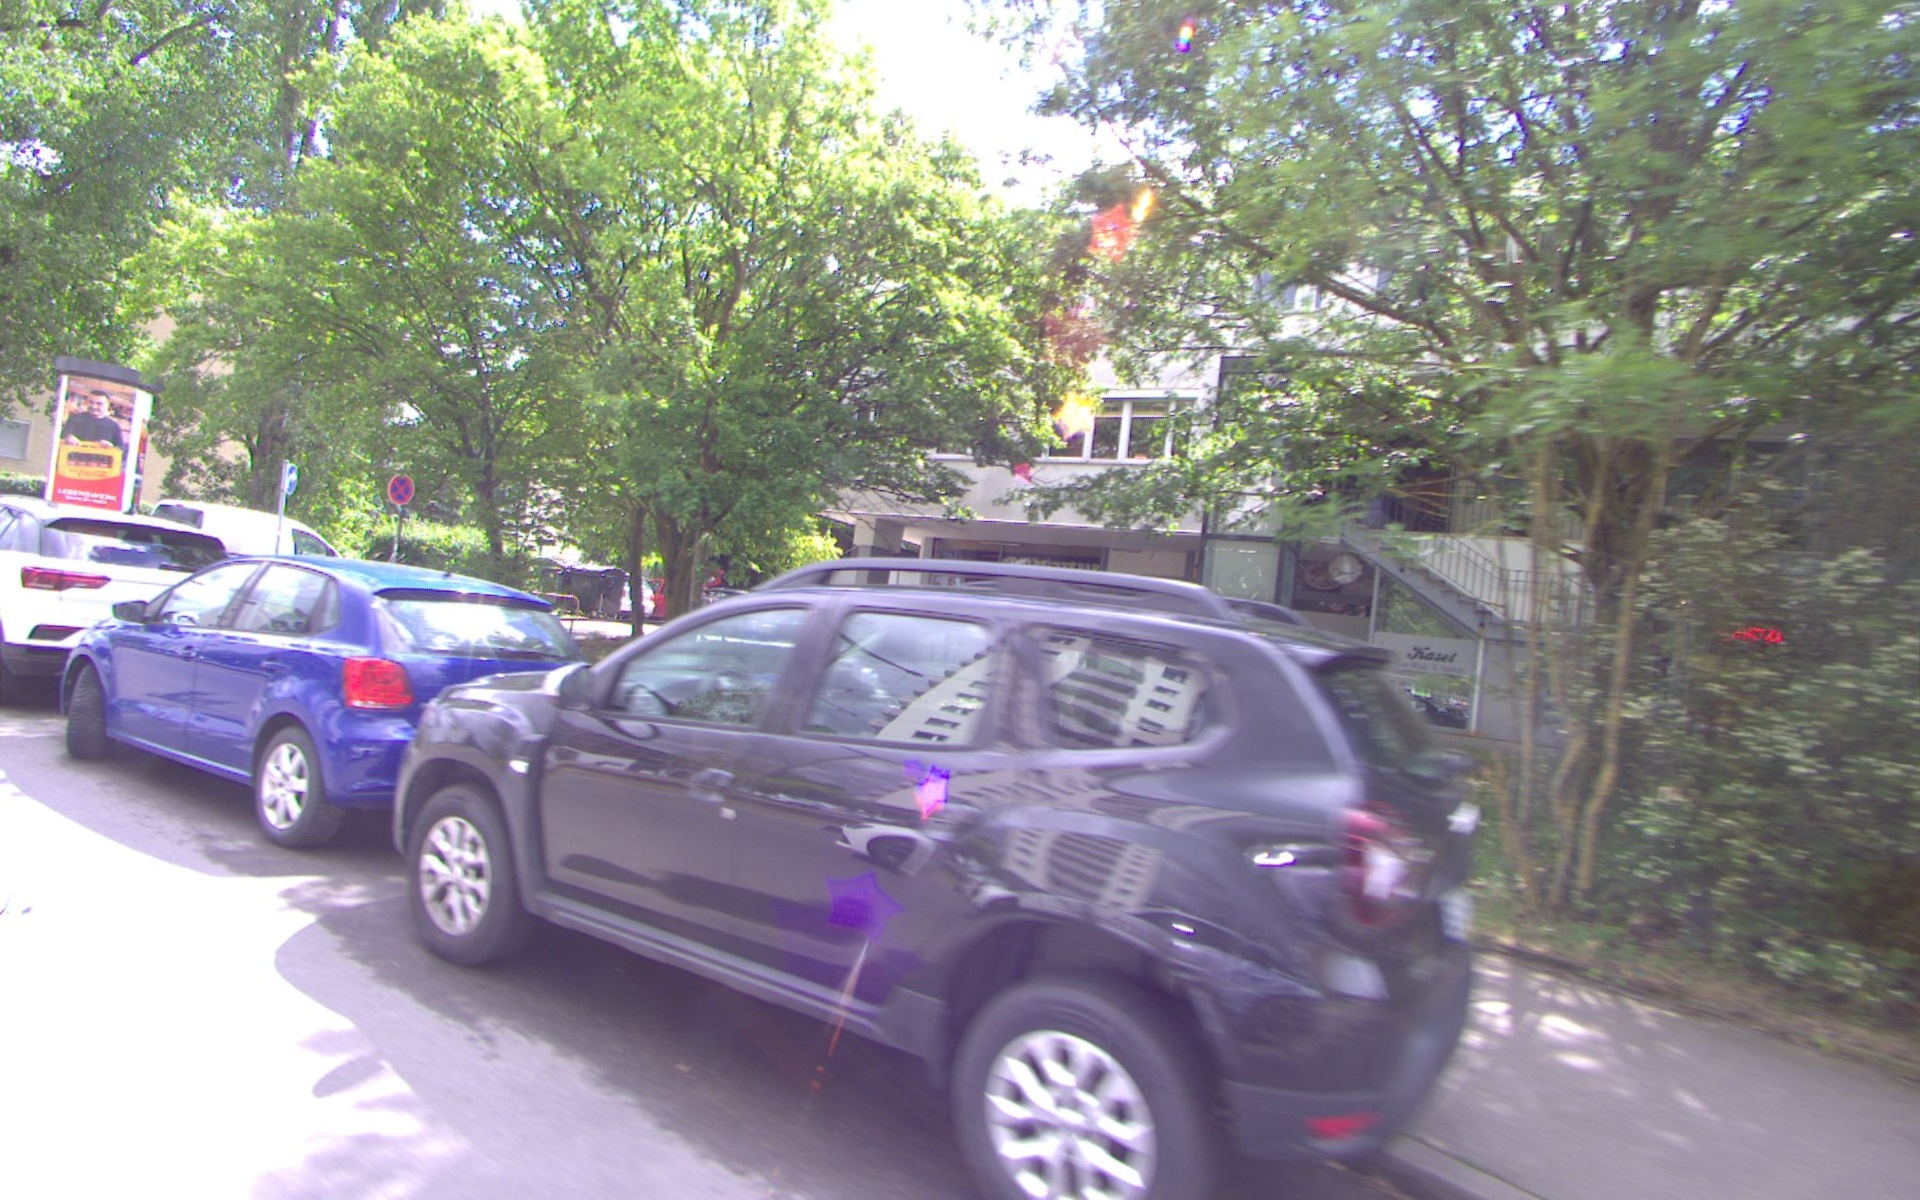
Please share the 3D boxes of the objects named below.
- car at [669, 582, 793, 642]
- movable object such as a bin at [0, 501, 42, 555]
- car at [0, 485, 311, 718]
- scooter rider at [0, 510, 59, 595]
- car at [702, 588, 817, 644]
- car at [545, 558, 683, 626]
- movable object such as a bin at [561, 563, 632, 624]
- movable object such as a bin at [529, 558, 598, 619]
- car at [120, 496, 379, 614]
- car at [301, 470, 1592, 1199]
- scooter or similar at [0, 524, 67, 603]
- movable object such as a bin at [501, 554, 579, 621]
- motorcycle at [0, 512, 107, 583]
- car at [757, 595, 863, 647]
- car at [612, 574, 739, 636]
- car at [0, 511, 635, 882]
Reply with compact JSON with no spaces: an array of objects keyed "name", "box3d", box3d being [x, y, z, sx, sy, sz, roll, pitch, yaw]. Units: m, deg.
[{"name":"car","box3d":[-7.788,0.409,34.104,3.935,1.488,1.745,7,-1,33]},{"name":"movable object such as a bin","box3d":[-28.225,-2.165,29.798,1.040,1.456,1.170,7,0,32]},{"name":"car","box3d":[-7.943,-0.136,8.817,4.491,1.584,1.787,7,0,29]},{"name":"scooter rider","box3d":[-15.277,-0.796,16.080,1.260,1.235,0.886,8,0,32]},{"name":"car","box3d":[-7.415,0.578,37.133,3.935,1.547,1.745,7,-1,33]},{"name":"car","box3d":[-10.540,-0.261,30.577,3.938,1.508,1.941,7,-1,36]},{"name":"movable object such as a bin","box3d":[-9.779,-0.171,27.105,1.264,1.447,1.117,7,0,31]},{"name":"movable object such as a bin","box3d":[-10.954,-0.313,27.821,1.264,1.447,1.117,7,0,31]},{"name":"car","box3d":[-14.135,-0.800,20.340,1.776,1.844,4.003,7,-1,11]},{"name":"car","box3d":[-0.385,0.629,3.805,4.494,1.784,1.646,7,0,32]},{"name":"scooter or similar","box3d":[-15.310,-0.641,16.092,2.079,1.077,0.891,8,0,32]},{"name":"movable object such as a bin","box3d":[-10.415,-0.294,24.944,1.264,1.447,1.117,7,0,31]},{"name":"motorcycle","box3d":[-18.477,-1.052,20.288,0.698,1.225,1.802,7,-1,12]},{"name":"car","box3d":[-6.061,0.827,40.430,3.935,1.547,1.745,7,-1,33]},{"name":"car","box3d":[-9.160,0.155,32.292,3.938,1.460,1.744,7,-1,36]},{"name":"car","box3d":[-4.147,0.409,6.334,4.007,1.476,1.646,7,0,30]}]
